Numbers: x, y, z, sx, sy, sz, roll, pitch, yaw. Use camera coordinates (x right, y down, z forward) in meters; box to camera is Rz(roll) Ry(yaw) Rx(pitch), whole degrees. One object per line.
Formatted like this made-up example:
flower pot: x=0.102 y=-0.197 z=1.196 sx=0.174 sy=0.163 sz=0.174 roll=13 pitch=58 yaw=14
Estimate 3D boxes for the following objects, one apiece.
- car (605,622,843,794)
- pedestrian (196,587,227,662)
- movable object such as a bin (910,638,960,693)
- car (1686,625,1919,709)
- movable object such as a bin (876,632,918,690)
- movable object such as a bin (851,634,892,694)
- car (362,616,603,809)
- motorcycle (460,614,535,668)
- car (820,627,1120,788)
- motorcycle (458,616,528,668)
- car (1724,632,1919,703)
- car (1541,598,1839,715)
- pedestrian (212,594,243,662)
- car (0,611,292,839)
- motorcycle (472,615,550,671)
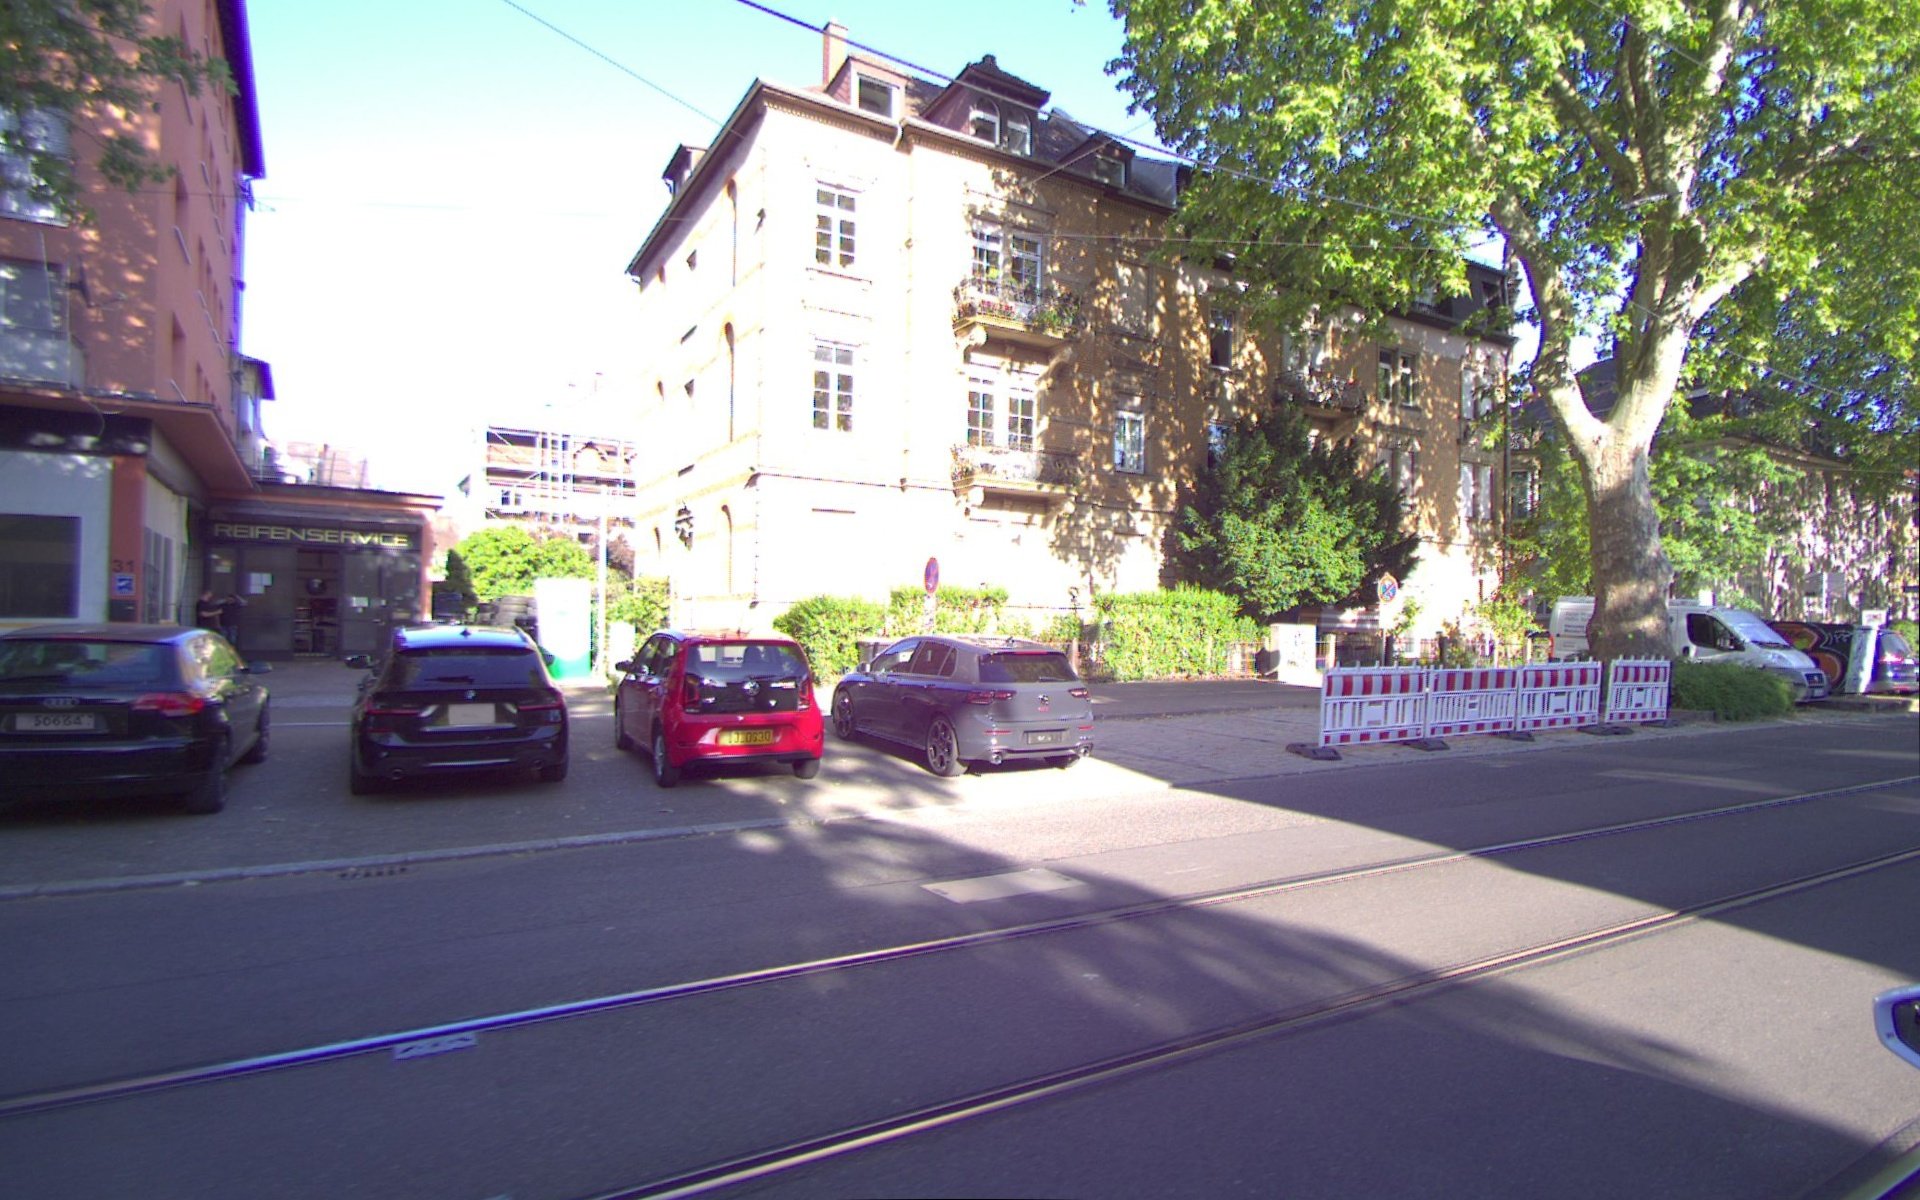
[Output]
car: x=-2.713 y=1.036 z=11.000 sx=1.737 sy=1.484 sz=3.406 roll=2 pitch=-1 yaw=-28
pedestrian: x=-18.343 y=0.596 z=24.625 sx=0.514 sy=1.801 sz=0.536 roll=2 pitch=0 yaw=-31
movable object such as a bin: x=-0.507 y=1.302 z=20.070 sx=0.727 sy=1.036 sz=0.719 roll=2 pitch=-1 yaw=-29
car: x=21.211 y=1.610 z=25.366 sx=1.905 sy=1.825 sz=4.276 roll=2 pitch=-1 yaw=-32
movable object such as a bin: x=-1.258 y=1.208 z=20.055 sx=0.554 sy=1.124 sz=0.720 roll=2 pitch=-1 yaw=-28
movable object such as a bin: x=-1.752 y=1.247 z=19.782 sx=0.536 sy=1.124 sz=0.721 roll=2 pitch=-1 yaw=-28
car: x=-4.907 y=0.956 z=10.274 sx=1.798 sy=1.484 sz=4.067 roll=2 pitch=-1 yaw=-27
motorcycle: x=-11.588 y=1.026 z=25.169 sx=1.609 sy=1.321 sz=0.639 roll=2 pitch=-1 yaw=-31
car: x=-0.063 y=1.133 z=12.071 sx=1.832 sy=1.484 sz=3.968 roll=2 pitch=-1 yaw=-30
motorcycle: x=-11.977 y=1.076 z=25.783 sx=1.545 sy=1.305 sz=0.590 roll=2 pitch=-1 yaw=-31
car: x=23.360 y=1.733 z=26.849 sx=1.905 sy=1.628 sz=4.276 roll=2 pitch=-1 yaw=-32
car: x=16.120 y=1.141 z=22.495 sx=2.063 sy=2.289 sz=5.004 roll=2 pitch=-1 yaw=-33
pedestrian: x=-18.500 y=0.711 z=25.377 sx=0.543 sy=1.682 sz=0.500 roll=2 pitch=0 yaw=-31
car: x=-6.939 y=0.876 z=8.542 sx=1.665 sy=1.484 sz=3.588 roll=2 pitch=-1 yaw=-27
motorcycle: x=-10.734 y=1.025 z=24.026 sx=1.609 sy=1.305 sz=0.596 roll=2 pitch=-1 yaw=-31
